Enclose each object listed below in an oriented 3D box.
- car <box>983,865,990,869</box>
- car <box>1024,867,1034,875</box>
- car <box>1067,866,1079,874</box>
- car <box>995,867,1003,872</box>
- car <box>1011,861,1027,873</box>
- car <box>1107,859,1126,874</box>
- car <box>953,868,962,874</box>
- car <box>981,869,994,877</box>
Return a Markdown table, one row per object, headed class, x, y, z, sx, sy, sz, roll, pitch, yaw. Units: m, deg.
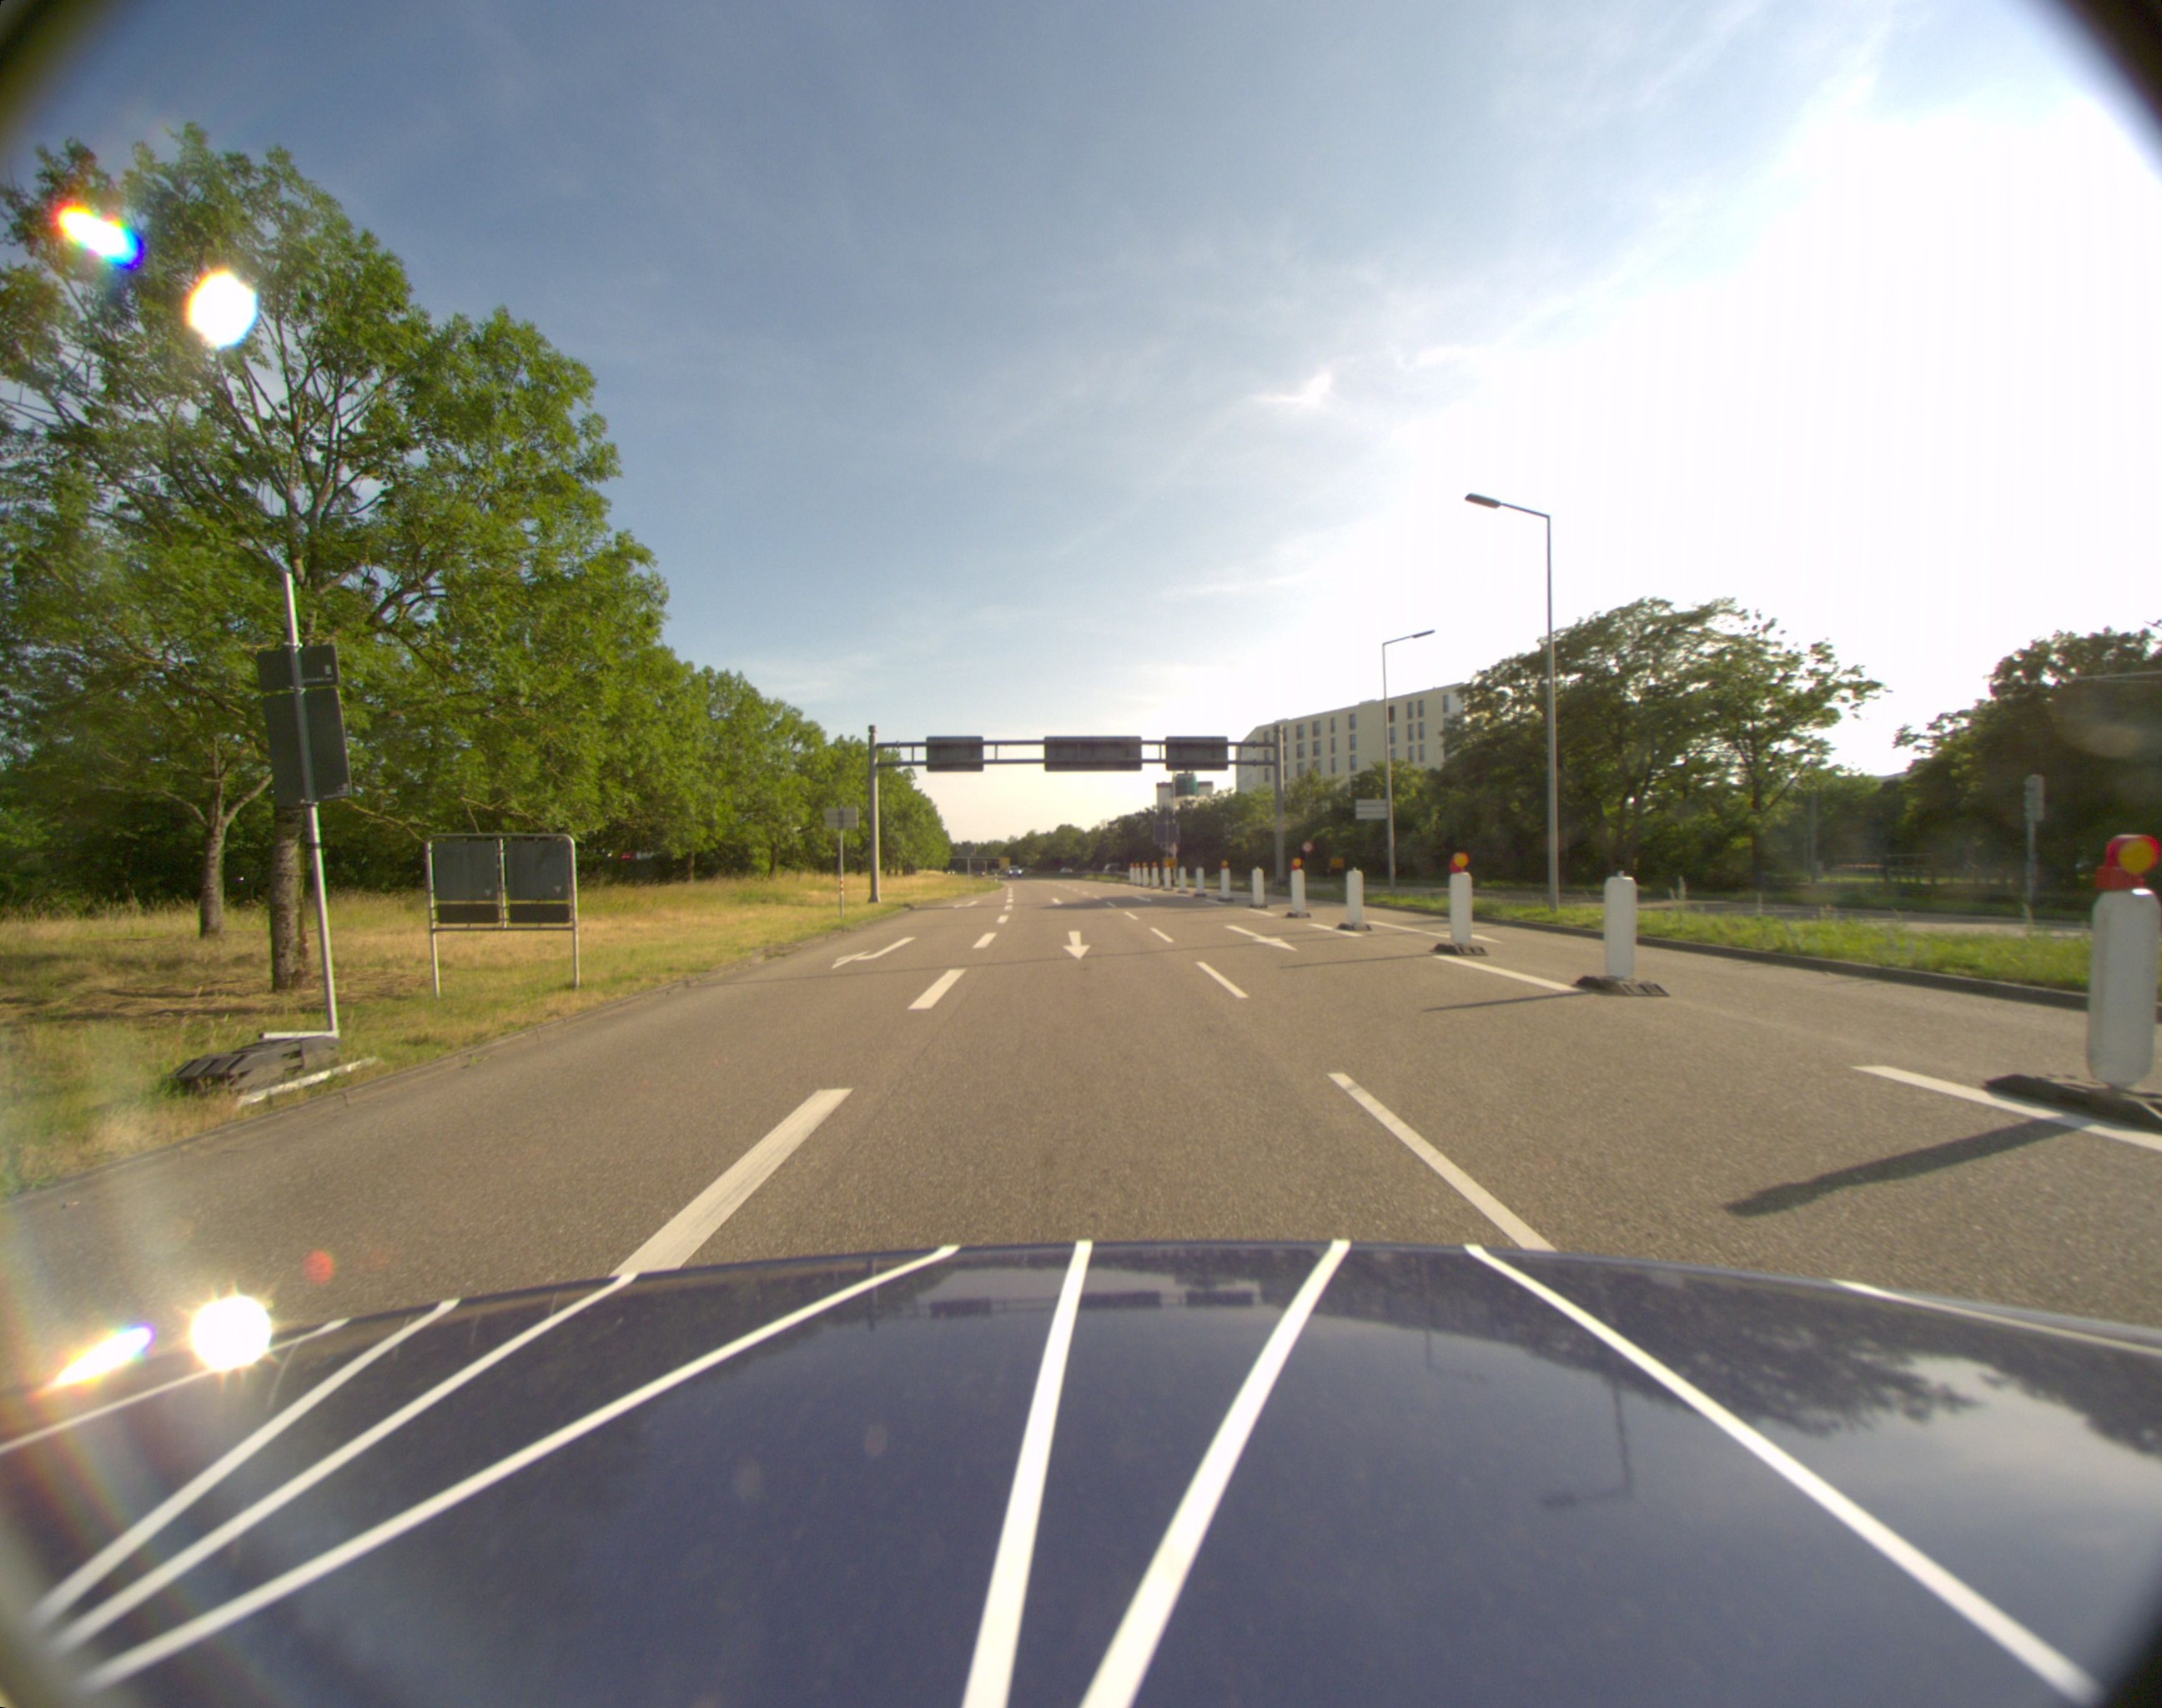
| class | x | y | z | sx | sy | sz | roll | pitch | yaw |
| --- | --- | --- | --- | --- | --- | --- | --- | --- | --- |
| car | -30.353 | 4.193 | 243.804 | 1.609 | 1.432 | 3.232 | -3 | 0 | -16 |
| car | -11.203 | 3.712 | 163.304 | 1.737 | 1.602 | 3.522 | -3 | 0 | -8 |
| car | -1.561 | 3.041 | 143.347 | 1.645 | 1.368 | 4.061 | -2 | 0 | -10 |
| car | -21.961 | 4.184 | 204.049 | 1.609 | 1.433 | 3.232 | -3 | 0 | -14 |
| car | -10.228 | 2.127 | 125.776 | 1.903 | 1.813 | 4.351 | -3 | 0 | -14 |
| car | 4.450 | 1.498 | 94.988 | 1.790 | 1.796 | 4.122 | -1 | 0 | -6 |
| car | -36.340 | 4.980 | 223.951 | 1.897 | 1.447 | 3.903 | -1 | 0 | -18 |
| car | -18.562 | 3.705 | 150.610 | 1.903 | 1.377 | 4.351 | -3 | 0 | -14 |
